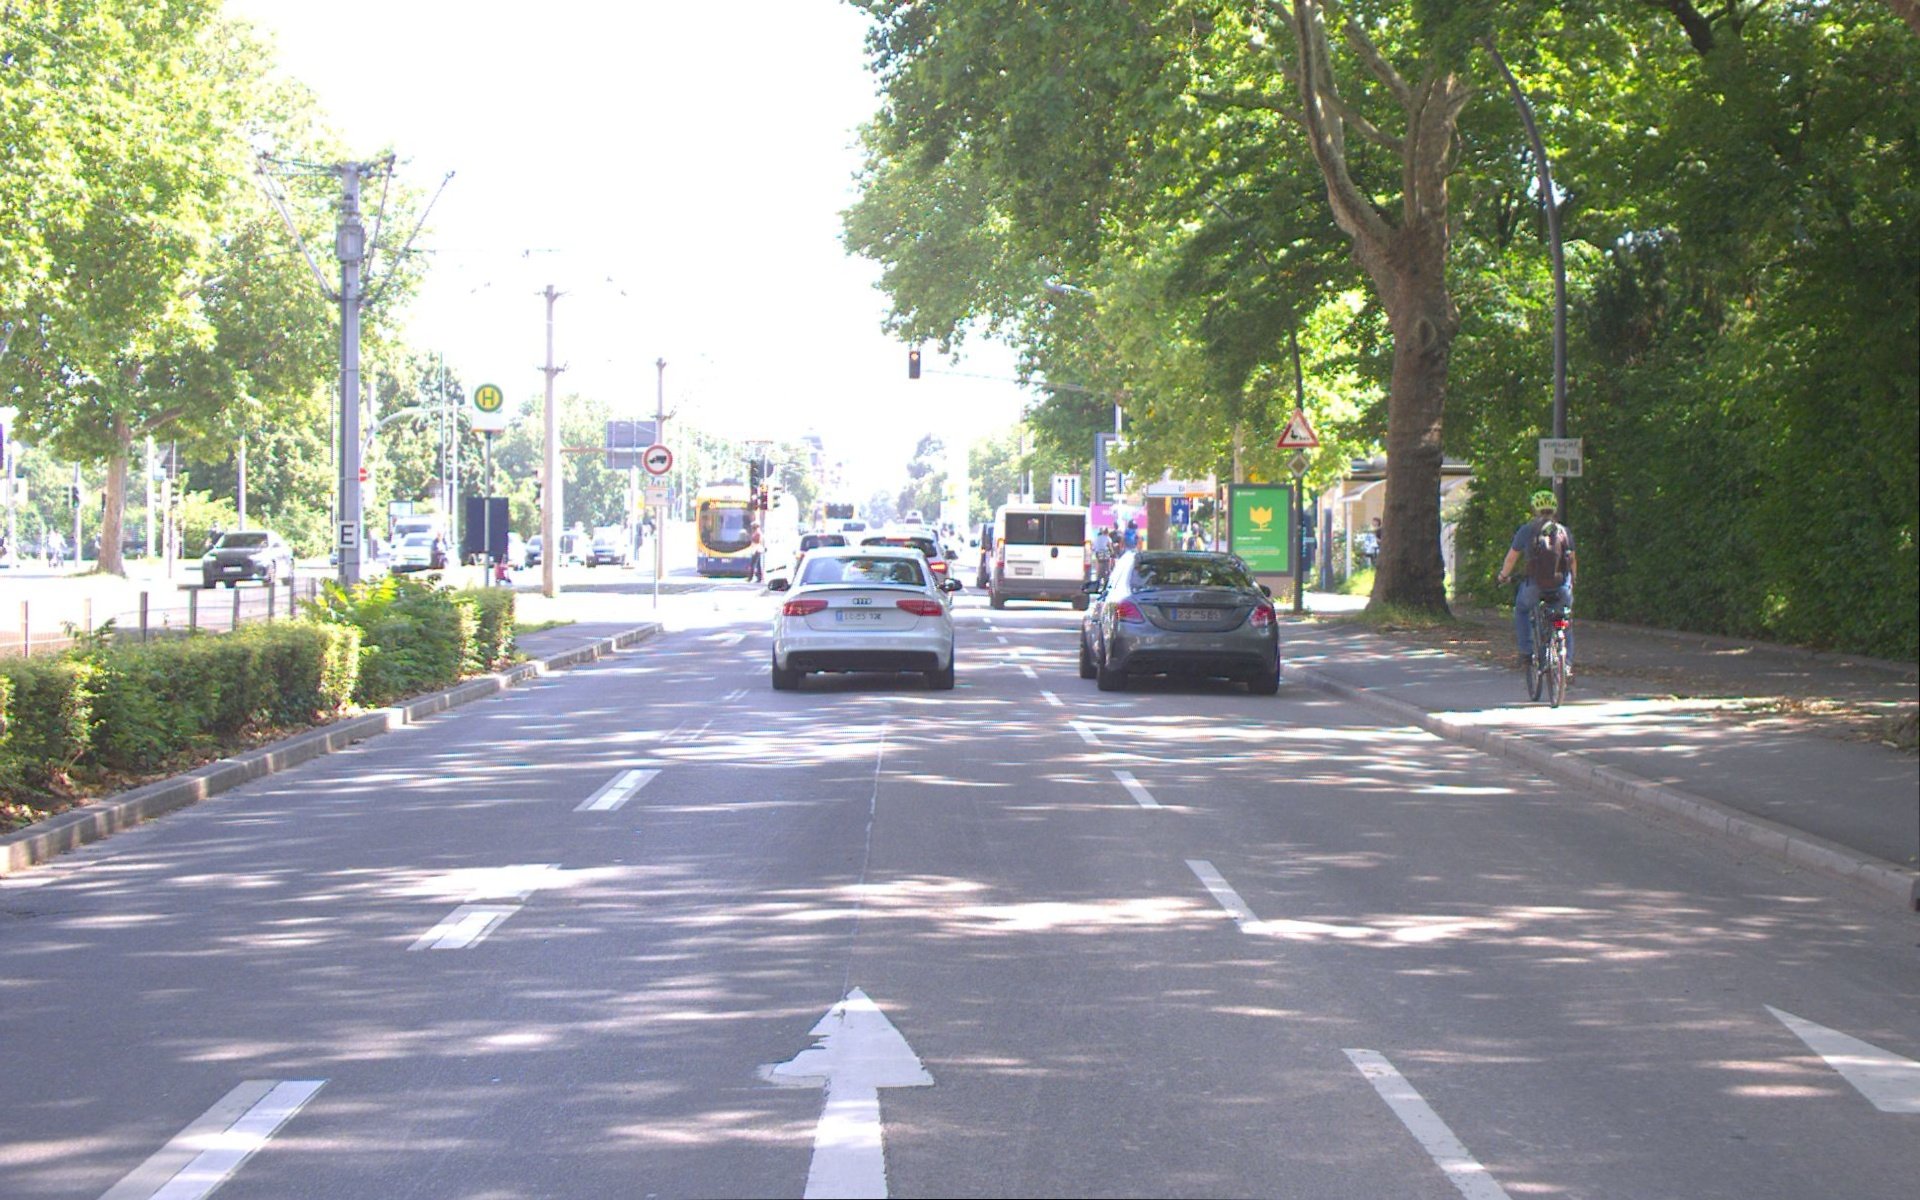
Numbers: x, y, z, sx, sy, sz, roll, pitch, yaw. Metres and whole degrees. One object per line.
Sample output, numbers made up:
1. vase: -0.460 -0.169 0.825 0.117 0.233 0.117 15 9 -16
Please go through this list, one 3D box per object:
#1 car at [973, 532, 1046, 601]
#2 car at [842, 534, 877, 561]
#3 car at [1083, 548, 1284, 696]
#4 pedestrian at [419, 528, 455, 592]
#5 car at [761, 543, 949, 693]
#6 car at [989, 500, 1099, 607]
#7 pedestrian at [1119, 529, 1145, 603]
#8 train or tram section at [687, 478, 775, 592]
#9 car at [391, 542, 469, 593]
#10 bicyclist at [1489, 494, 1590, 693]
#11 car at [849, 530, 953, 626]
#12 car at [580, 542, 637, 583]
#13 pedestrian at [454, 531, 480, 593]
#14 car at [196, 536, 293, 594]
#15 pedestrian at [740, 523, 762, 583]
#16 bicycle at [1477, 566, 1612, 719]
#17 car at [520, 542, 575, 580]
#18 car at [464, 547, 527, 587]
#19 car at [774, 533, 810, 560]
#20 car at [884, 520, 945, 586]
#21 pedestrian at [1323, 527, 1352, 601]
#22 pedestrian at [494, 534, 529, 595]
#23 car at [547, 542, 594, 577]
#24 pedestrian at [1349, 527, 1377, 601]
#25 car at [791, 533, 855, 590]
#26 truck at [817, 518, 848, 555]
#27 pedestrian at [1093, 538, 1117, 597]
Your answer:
1. car: 1.468 -1.020 102.534 2.072 1.992 4.058 1 1 0
2. car: -6.170 -3.193 210.681 1.871 1.603 4.000 1 1 2
3. car: 2.254 0.187 35.527 1.782 1.415 4.000 1 1 0
4. pedestrian: -13.349 -1.022 87.700 0.757 1.617 0.595 0 1 -25
5. car: -1.013 0.143 34.842 1.784 1.416 3.885 1 1 0
6. car: 1.769 -0.992 73.781 2.230 2.204 4.162 1 1 0
7. pedestrian: 4.556 -0.891 91.019 0.635 1.939 0.719 1 1 0
8. train or tram section: -8.302 -2.345 125.384 2.616 4.001 7.749 1 1 0
9. car: -16.696 -1.038 108.486 1.810 1.557 4.305 1 1 -1
10. bicyclist: 4.953 -0.071 29.419 0.634 1.642 0.979 -2 2 -1
11. car: -0.995 -0.399 59.704 1.729 1.599 3.885 1 1 0
12. car: -15.131 -1.627 148.211 1.993 1.728 4.000 1 1 0
13. pedestrian: -13.152 -1.007 91.779 0.593 1.641 0.554 1 1 0
14. car: -20.789 -1.036 100.013 1.830 1.618 4.897 1 1 -1
15. pedestrian: -6.609 -1.487 108.768 0.624 1.911 0.690 1 1 0
16. bicycle: 4.991 0.342 29.488 0.714 1.144 2.179 -2 3 -1
17. car: -18.024 -1.703 150.270 1.871 1.603 4.000 1 1 0
18. car: -17.810 -1.272 131.954 1.796 1.483 4.385 1 1 0
19. car: -10.278 -3.292 210.781 1.871 1.603 4.000 1 1 2
20. car: -1.326 -1.381 101.647 1.729 1.895 4.000 1 1 0
21. pedestrian: 9.666 -0.914 88.036 0.613 1.890 0.694 0 1 -3
22. pedestrian: -12.851 -1.010 98.533 0.775 1.728 0.754 1 1 8
23. car: -18.367 -1.920 162.109 1.763 1.603 3.860 1 1 0
24. pedestrian: 10.323 -0.914 88.120 0.613 1.890 0.597 0 1 -3
25. car: -4.035 -1.147 101.432 1.729 1.625 4.000 1 1 0
26. truck: -9.777 -4.888 264.149 1.993 2.780 8.519 1 1 0
27. pedestrian: 4.170 -0.937 98.770 0.602 1.689 0.953 -2 1 0
